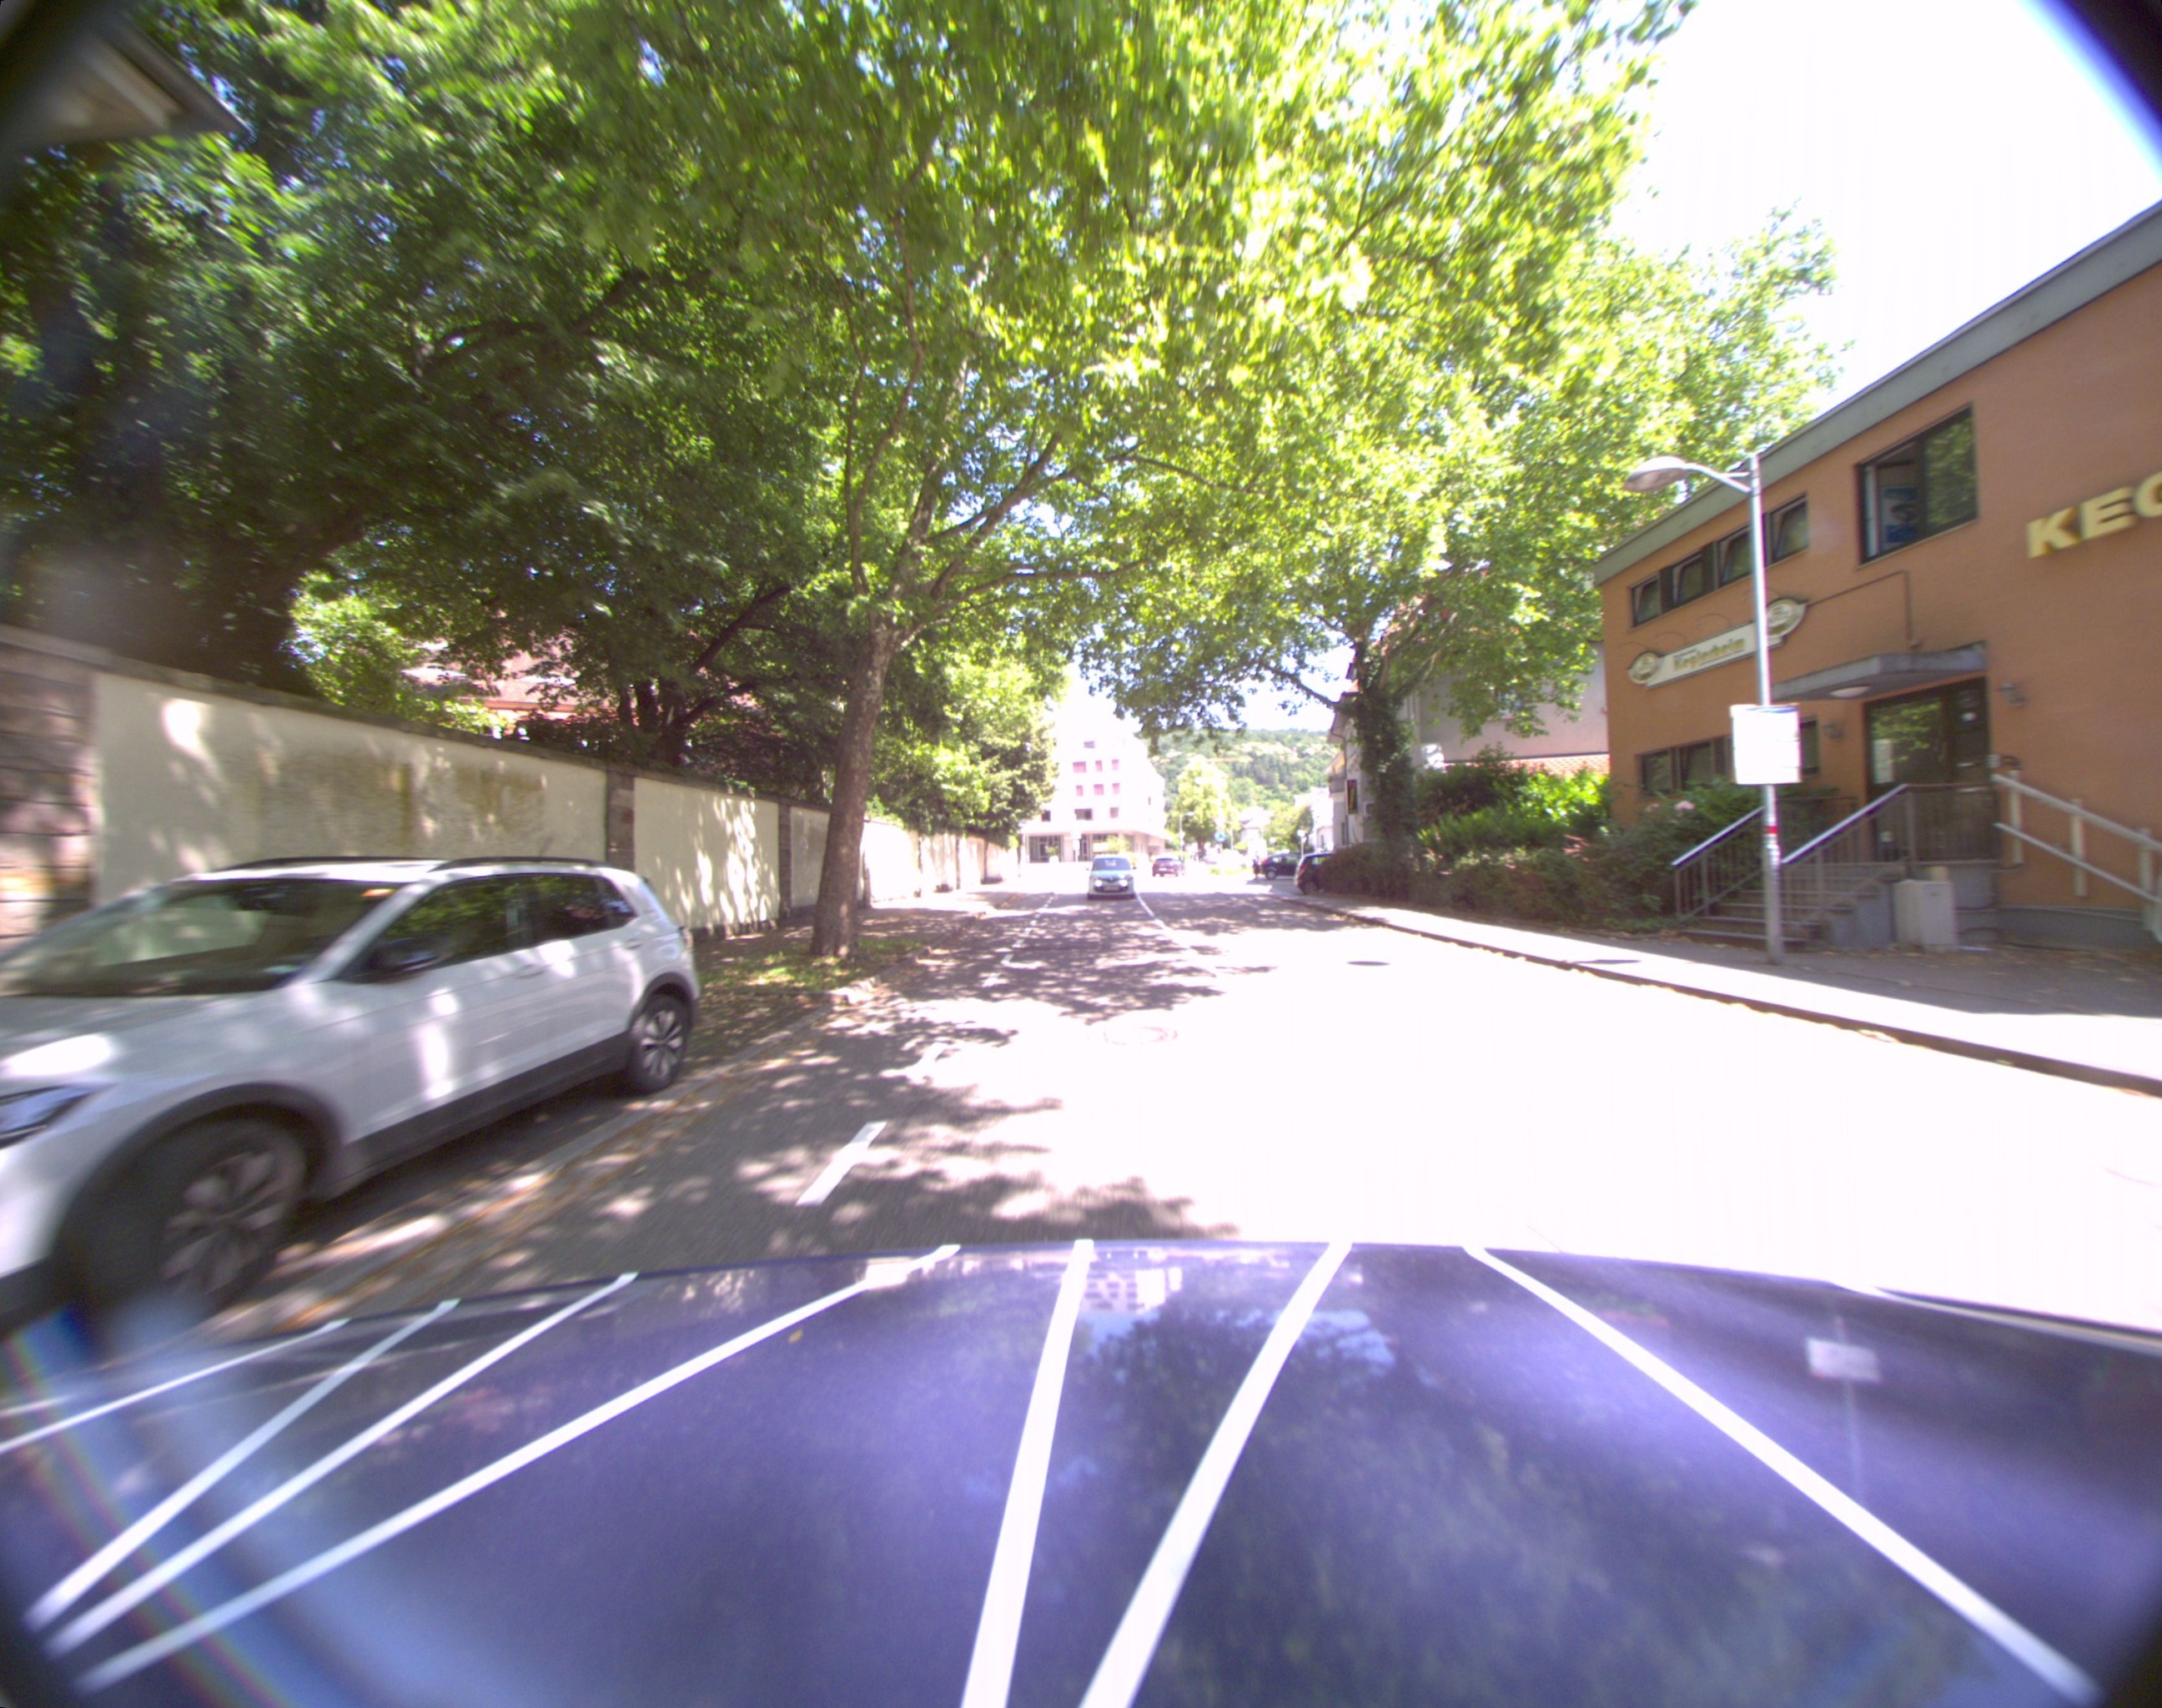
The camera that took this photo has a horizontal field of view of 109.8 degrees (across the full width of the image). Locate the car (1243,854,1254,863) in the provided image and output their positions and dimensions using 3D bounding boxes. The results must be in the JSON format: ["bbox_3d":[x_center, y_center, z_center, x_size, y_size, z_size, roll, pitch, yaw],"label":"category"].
[{"bbox_3d":[27.967,0.804,127.216,1.753,1.496,3.996,-1,0,12],"label":"car"}]

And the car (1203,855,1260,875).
[{"bbox_3d":[11.259,0.812,56.736,4.005,1.443,1.605,0,0,-25],"label":"car"}]

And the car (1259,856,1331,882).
[{"bbox_3d":[12.218,0.835,43.571,3.786,1.451,1.725,0,0,11],"label":"car"}]

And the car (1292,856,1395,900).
[{"bbox_3d":[9.597,0.867,27.991,3.387,1.537,1.725,-1,0,11],"label":"car"}]

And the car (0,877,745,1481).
[{"bbox_3d":[-3.726,0.937,3.881,1.745,1.548,4.781,1,-1,2],"label":"car"}]

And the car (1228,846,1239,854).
[{"bbox_3d":[31.554,-0.801,157.107,1.997,1.657,4.002,0,1,9],"label":"car"}]

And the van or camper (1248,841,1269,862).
[{"bbox_3d":[23.936,-0.375,102.614,2.271,2.623,5.890,-3,0,11],"label":"van or camper"}]

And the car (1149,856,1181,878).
[{"bbox_3d":[5.694,0.863,51.072,1.772,1.418,4.396,0,0,10],"label":"car"}]

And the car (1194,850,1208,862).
[{"bbox_3d":[15.749,0.254,99.558,1.754,1.496,3.996,-1,0,10],"label":"car"}]

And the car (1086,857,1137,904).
[{"bbox_3d":[1.068,0.872,27.049,1.659,1.516,4.162,0,0,2],"label":"car"}]

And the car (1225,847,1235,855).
[{"bbox_3d":[32.843,-0.663,167.787,1.997,1.657,4.002,0,1,9],"label":"car"}]

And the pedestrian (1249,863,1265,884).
[{"bbox_3d":[9.712,1.063,42.038,0.755,1.115,0.898,0,0,7],"label":"pedestrian"}]

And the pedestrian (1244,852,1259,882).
[{"bbox_3d":[10.053,0.744,44.779,0.873,1.732,1.113,0,0,13],"label":"pedestrian"}]
